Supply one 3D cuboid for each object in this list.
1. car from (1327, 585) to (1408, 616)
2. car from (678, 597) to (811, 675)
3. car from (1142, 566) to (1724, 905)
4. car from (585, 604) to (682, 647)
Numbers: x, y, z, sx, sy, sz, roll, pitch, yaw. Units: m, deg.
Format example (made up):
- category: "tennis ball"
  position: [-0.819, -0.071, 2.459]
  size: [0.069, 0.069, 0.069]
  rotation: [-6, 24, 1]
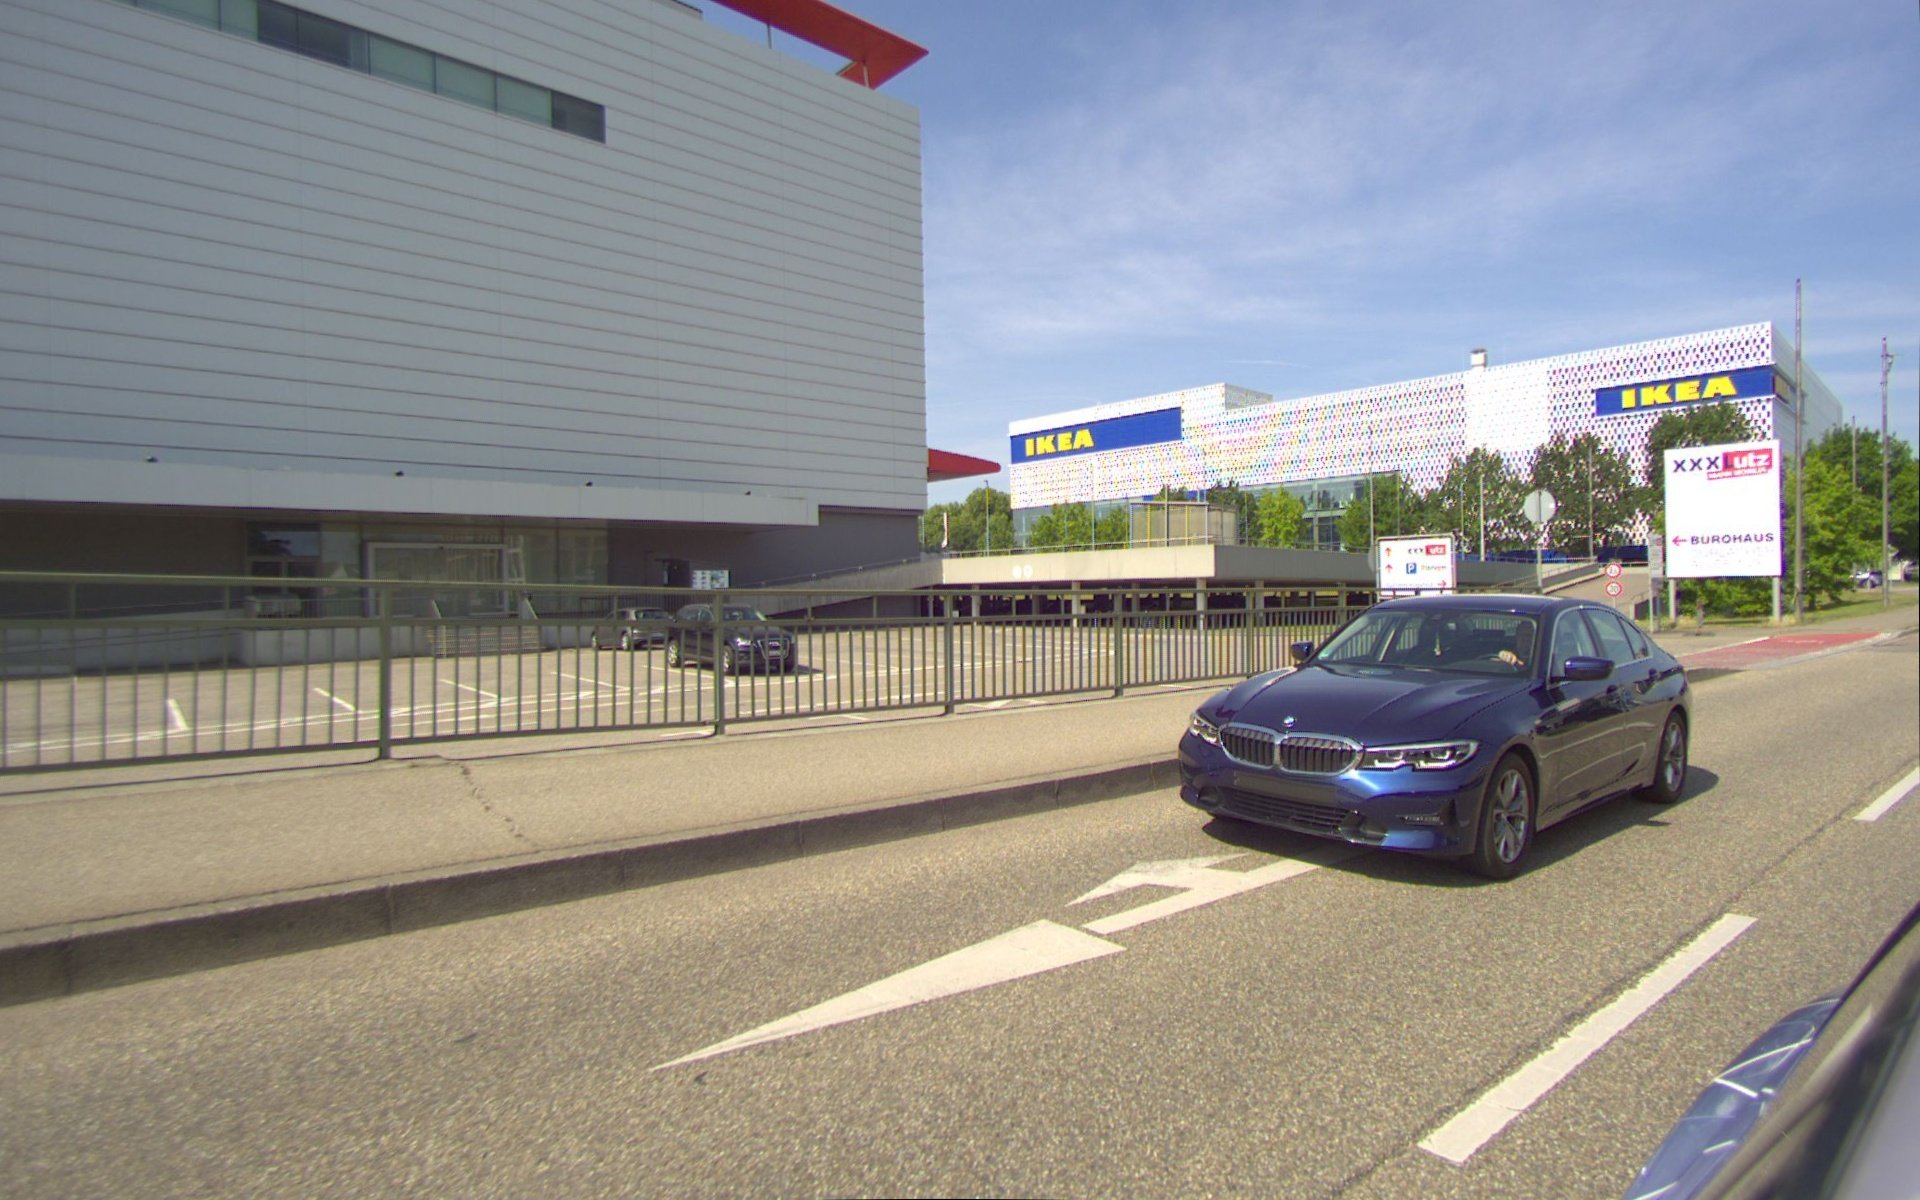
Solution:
- category: "car"
  position: [25.214, 0.034, 62.677]
  size: [4.302, 1.857, 1.969]
  rotation: [0, -1, 43]
- category: "car"
  position: [-5.529, 0.839, 25.538]
  size: [1.826, 1.754, 4.420]
  rotation: [-1, 0, -32]
- category: "car"
  position: [3.336, 0.562, 6.669]
  size: [4.441, 1.502, 1.790]
  rotation: [-2, 1, -41]
- category: "car"
  position: [-11.325, 0.893, 34.969]
  size: [1.780, 1.393, 3.861]
  rotation: [0, -1, -42]
